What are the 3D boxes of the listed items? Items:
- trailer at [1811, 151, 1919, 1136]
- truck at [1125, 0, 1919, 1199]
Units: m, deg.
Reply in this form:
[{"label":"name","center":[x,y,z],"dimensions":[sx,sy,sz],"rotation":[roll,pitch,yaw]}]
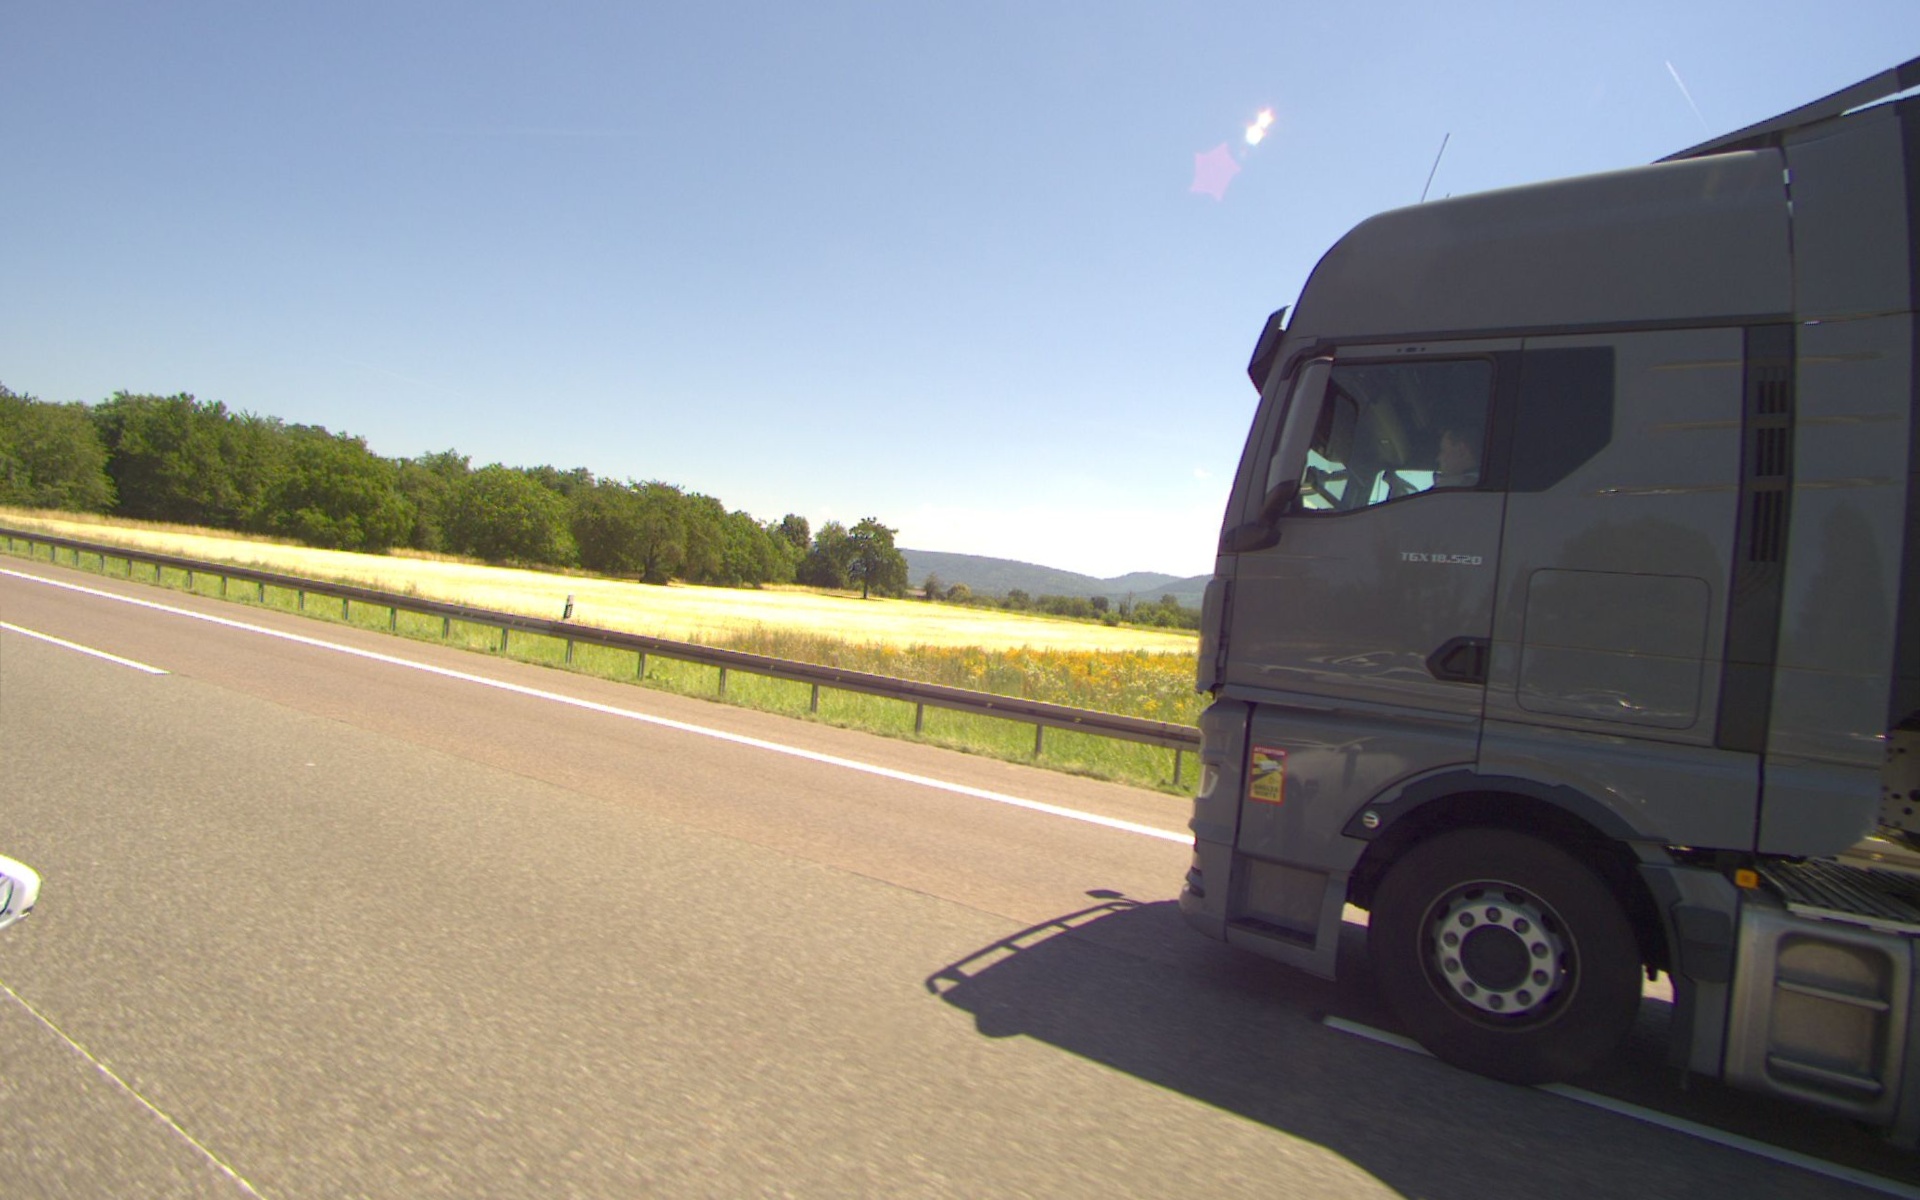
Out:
[{"label":"trailer","center":[10.084,0.439,0.738],"dimensions":[13.754,4.712,2.906],"rotation":[6,-1,32]},{"label":"truck","center":[3.831,-0.057,4.609],"dimensions":[4.893,4.306,2.913],"rotation":[6,-1,32]}]
